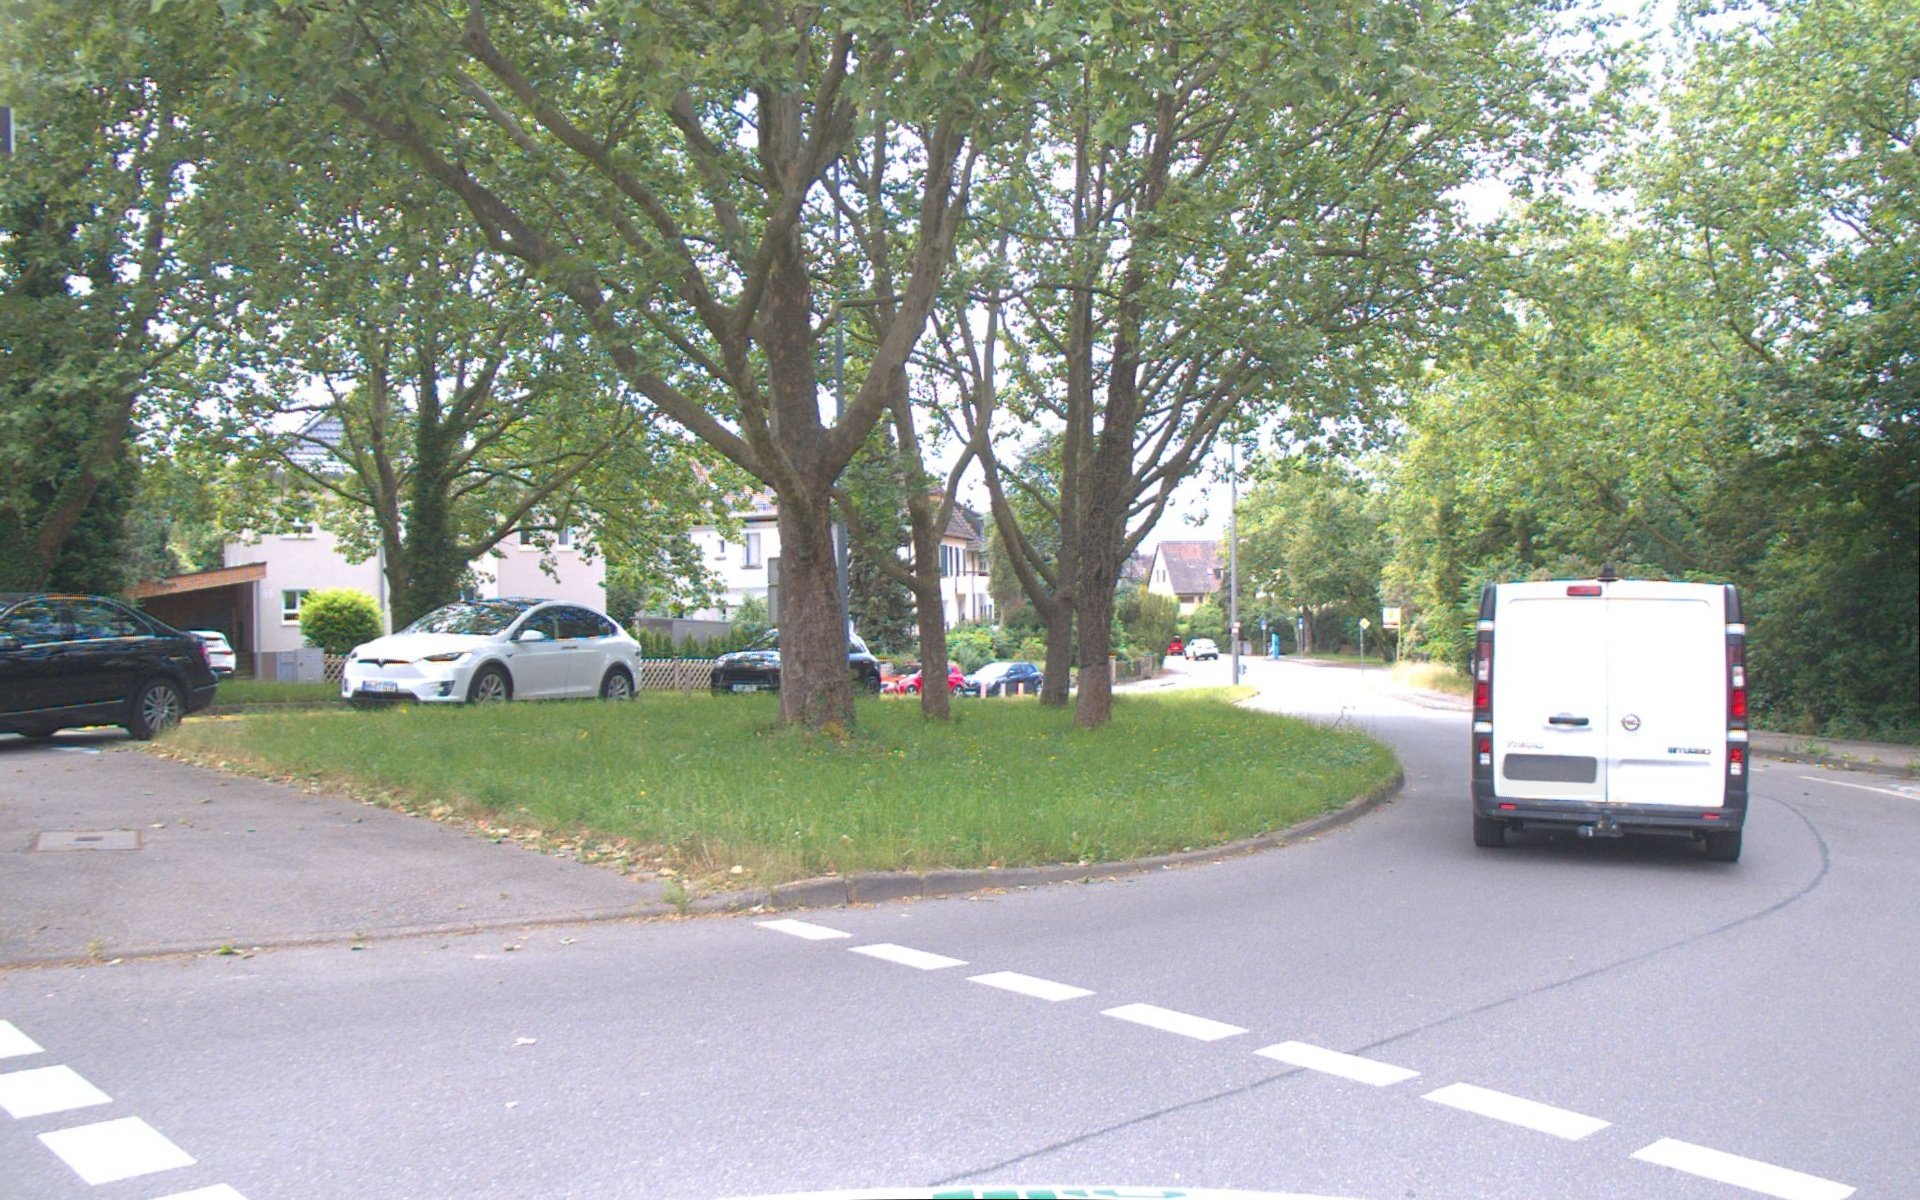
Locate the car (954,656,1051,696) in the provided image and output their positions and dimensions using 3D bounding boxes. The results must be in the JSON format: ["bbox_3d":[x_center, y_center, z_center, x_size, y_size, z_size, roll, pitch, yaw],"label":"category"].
[{"bbox_3d":[1.719,2.988,65.570,1.698,1.500,4.298,-1,-2,36],"label":"car"}]

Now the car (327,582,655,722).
[{"bbox_3d":[-6.206,0.601,22.583,1.813,1.687,4.908,0,1,20],"label":"car"}]

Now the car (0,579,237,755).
[{"bbox_3d":[-9.046,0.603,15.337,1.720,1.544,4.387,0,-2,20],"label":"car"}]

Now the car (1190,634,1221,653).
[{"bbox_3d":[19.613,3.495,132.072,1.693,1.500,3.377,0,-2,-5],"label":"car"}]

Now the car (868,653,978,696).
[{"bbox_3d":[-1.342,2.735,61.485,1.701,1.500,4.254,-2,-2,41],"label":"car"}]

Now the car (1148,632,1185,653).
[{"bbox_3d":[19.105,3.930,153.107,1.730,1.829,4.931,-1,-1,-13],"label":"car"}]

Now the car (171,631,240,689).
[{"bbox_3d":[-23.276,1.824,51.119,1.845,1.574,3.355,-1,1,-24],"label":"car"}]

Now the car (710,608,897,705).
[{"bbox_3d":[-2.840,0.997,31.185,1.720,1.619,4.614,0,0,20],"label":"car"}]

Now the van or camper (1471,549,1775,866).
[{"bbox_3d":[5.308,0.663,13.297,1.885,2.049,4.829,0,1,22],"label":"van or camper"}]
